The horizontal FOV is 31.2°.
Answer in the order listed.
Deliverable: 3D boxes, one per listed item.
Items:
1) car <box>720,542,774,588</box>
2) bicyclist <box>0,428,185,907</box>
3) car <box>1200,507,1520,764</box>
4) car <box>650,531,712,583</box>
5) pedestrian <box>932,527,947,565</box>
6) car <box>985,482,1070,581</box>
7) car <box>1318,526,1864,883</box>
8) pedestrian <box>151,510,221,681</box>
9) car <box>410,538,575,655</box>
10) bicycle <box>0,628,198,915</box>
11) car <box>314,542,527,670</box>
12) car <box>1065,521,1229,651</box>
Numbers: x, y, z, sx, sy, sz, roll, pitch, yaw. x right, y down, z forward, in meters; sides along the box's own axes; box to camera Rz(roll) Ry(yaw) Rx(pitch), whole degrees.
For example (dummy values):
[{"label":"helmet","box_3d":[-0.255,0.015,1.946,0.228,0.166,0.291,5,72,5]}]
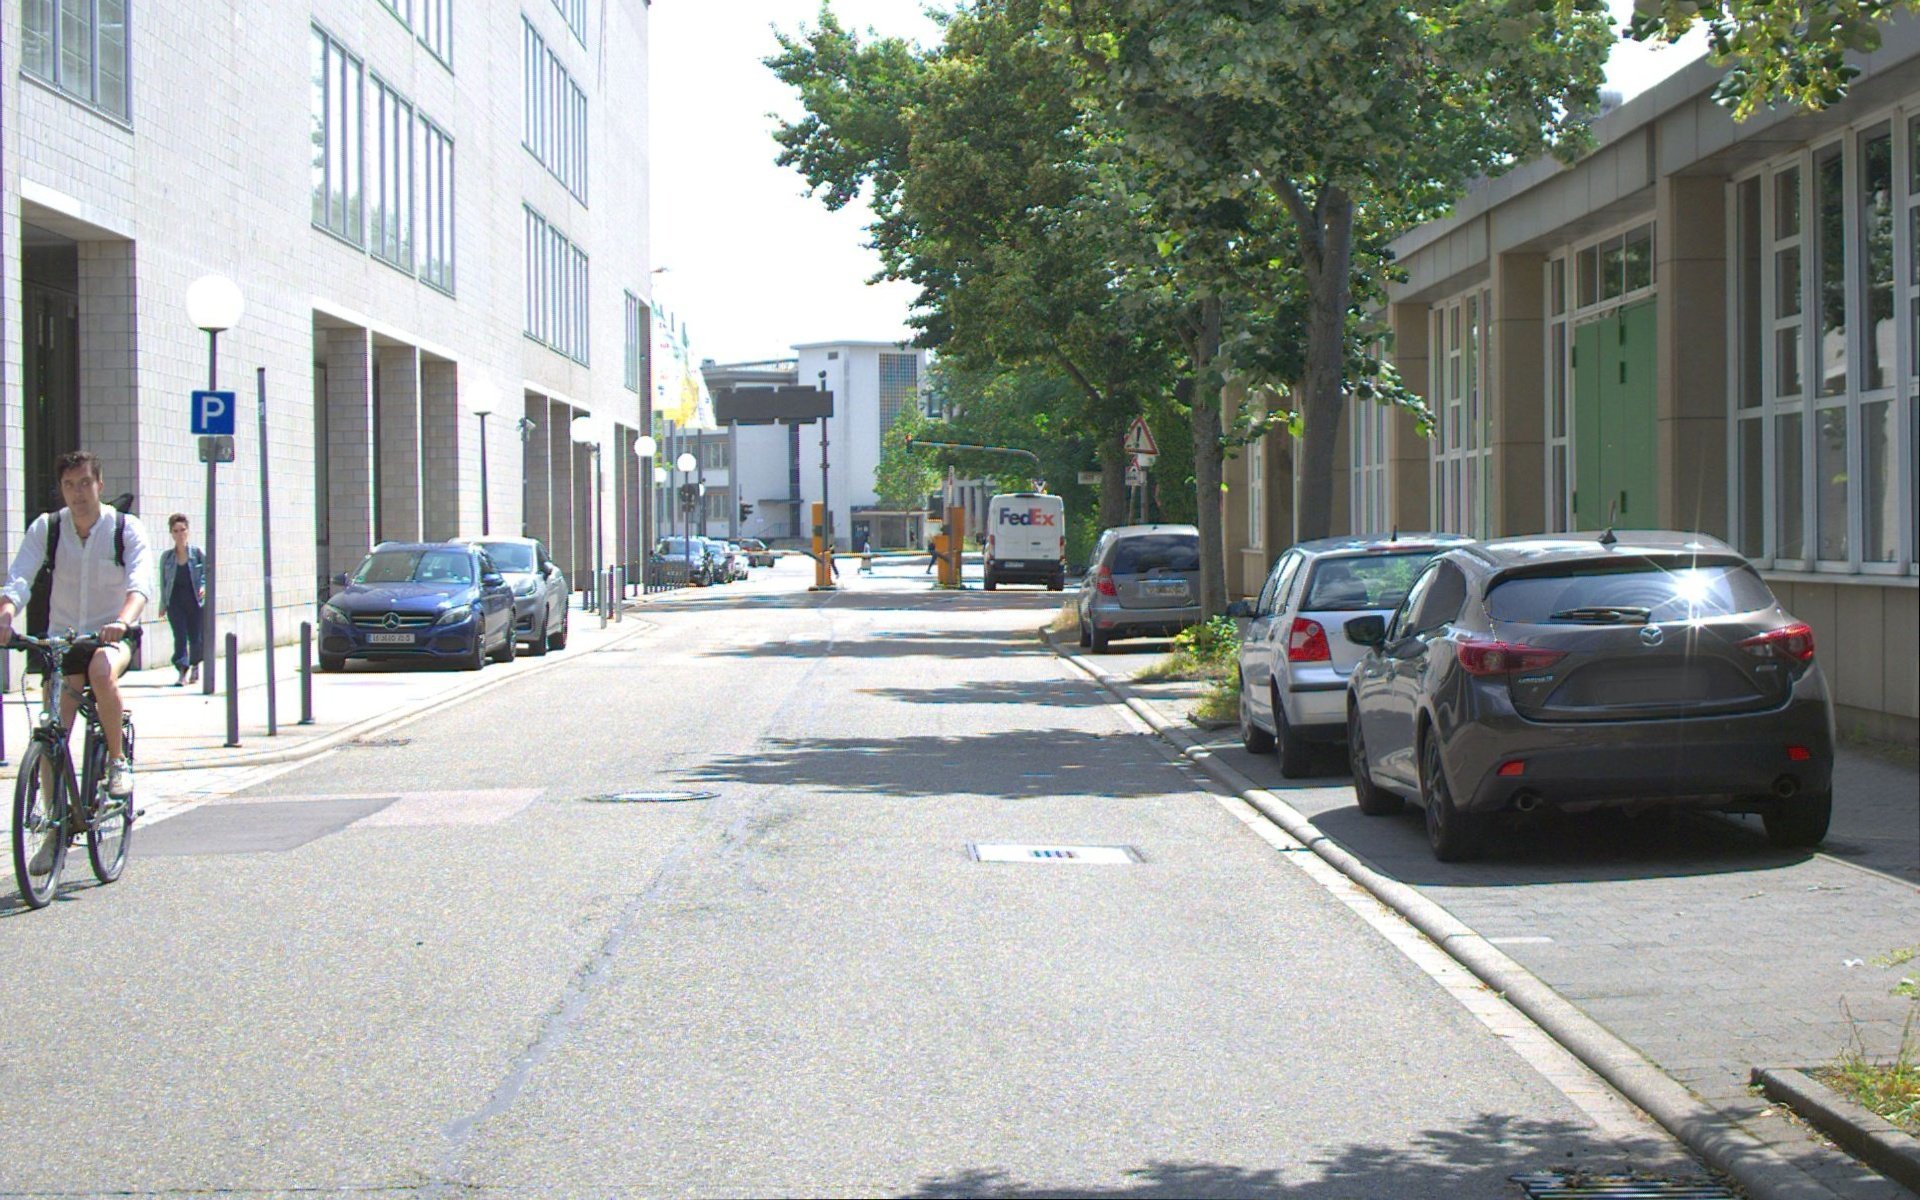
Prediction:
[{"label":"car","box_3d":[-7.276,-1.180,117.668,1.646,1.493,3.729,-1,-1,-1]},{"label":"bicyclist","box_3d":[-3.873,0.277,15.044,0.711,2.007,1.019,-2,1,-3]},{"label":"car","box_3d":[2.510,0.177,22.346,1.616,1.533,3.780,0,1,0]},{"label":"car","box_3d":[-8.560,-1.313,105.729,1.646,1.493,3.729,-1,-1,-1]},{"label":"pedestrian","box_3d":[-0.882,-2.332,148.282,0.606,1.614,0.682,1,1,-2]},{"label":"car","box_3d":[1.756,-1.810,90.837,2.083,2.531,4.316,1,1,-1]},{"label":"car","box_3d":[2.937,0.405,16.963,1.780,1.471,4.462,-2,1,-1]},{"label":"pedestrian","box_3d":[-7.773,-0.054,34.549,0.649,1.695,0.890,0,1,-11]},{"label":"car","box_3d":[-6.155,-0.067,45.589,1.631,1.479,4.178,0,1,0]},{"label":"bicycle","box_3d":[-3.875,0.718,15.148,0.685,1.126,1.889,-1,1,-3]},{"label":"car","box_3d":[-6.270,0.048,40.353,1.766,1.423,4.234,0,1,1]},{"label":"car","box_3d":[2.392,-0.211,44.762,1.858,1.568,4.000,-2,1,0]}]
